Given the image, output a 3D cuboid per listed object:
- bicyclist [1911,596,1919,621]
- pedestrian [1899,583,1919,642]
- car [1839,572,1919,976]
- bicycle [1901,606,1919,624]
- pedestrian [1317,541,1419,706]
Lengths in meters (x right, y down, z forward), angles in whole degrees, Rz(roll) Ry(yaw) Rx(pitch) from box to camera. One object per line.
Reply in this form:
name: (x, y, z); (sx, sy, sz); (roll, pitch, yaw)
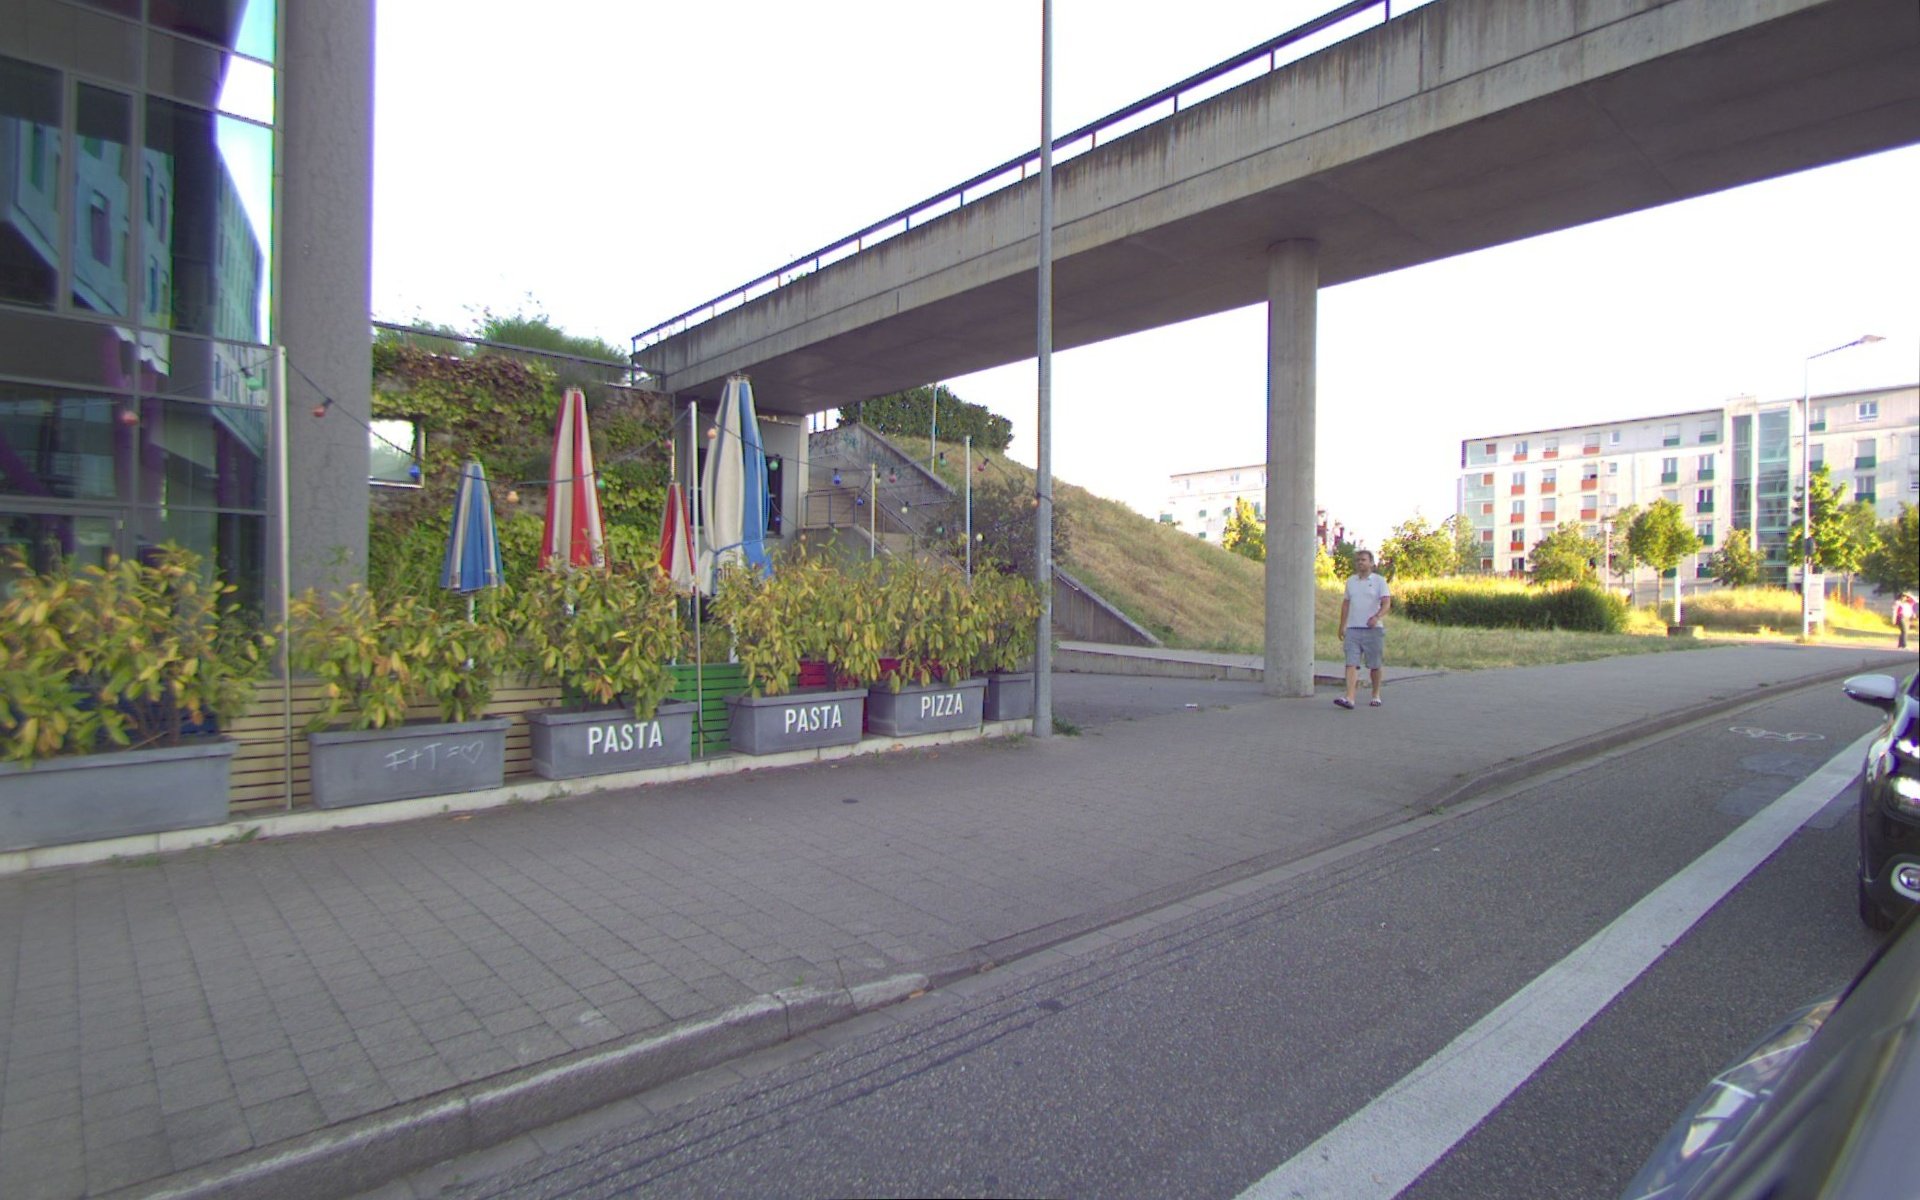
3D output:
bicyclist: (62.088, 0.555, 65.104); (0.920, 1.615, 1.062); (1, 0, 17)
pedestrian: (27.630, 0.363, 29.131); (0.844, 1.650, 0.737); (1, 2, -40)
car: (5.426, 0.650, 4.510); (3.930, 1.482, 1.738); (0, 0, -41)
bicycle: (62.358, 0.957, 65.372); (0.888, 1.163, 3.479); (0, 0, 17)
pedestrian: (4.566, 0.246, 11.321); (0.890, 1.746, 0.737); (1, 0, -40)
